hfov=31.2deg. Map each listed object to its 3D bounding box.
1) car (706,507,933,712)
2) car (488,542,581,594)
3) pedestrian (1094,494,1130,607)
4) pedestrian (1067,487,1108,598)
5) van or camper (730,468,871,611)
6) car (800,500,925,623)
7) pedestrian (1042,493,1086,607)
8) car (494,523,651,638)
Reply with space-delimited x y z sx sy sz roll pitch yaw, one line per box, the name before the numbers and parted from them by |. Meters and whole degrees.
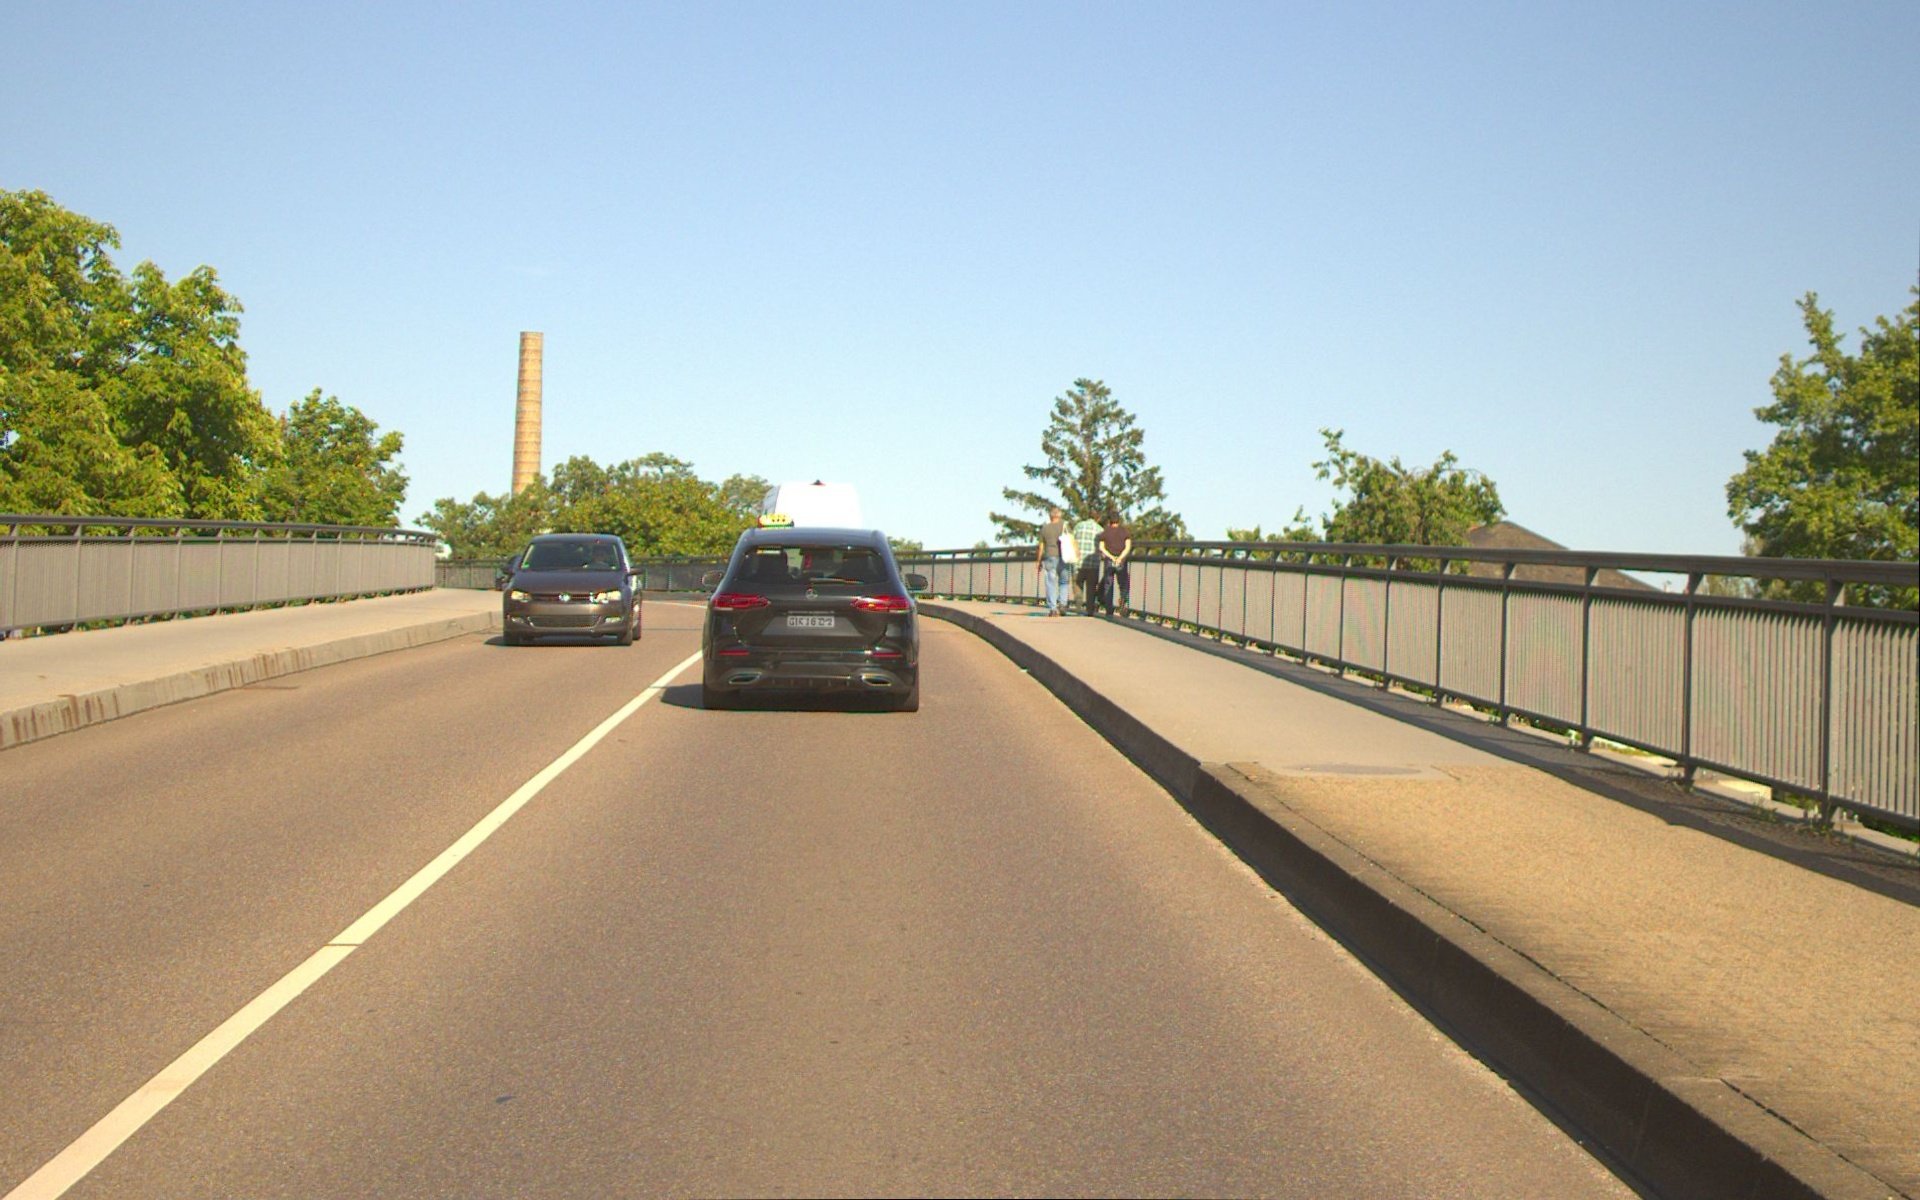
car | -1.274 0.049 29.595 1.769 1.587 3.990 2 1 -4
car | -14.186 -1.053 114.815 1.919 1.484 4.268 0 -2 10
pedestrian | 2.400 -0.778 54.310 0.471 1.744 0.654 2 -1 -1
pedestrian | 2.046 -0.920 55.148 0.549 1.744 0.738 2 -1 -1
van or camper | -3.471 -1.213 73.187 2.225 2.730 7.081 2 -1 -8
car | -1.484 -0.561 53.523 1.804 1.634 3.999 2 -3 0
pedestrian | 1.637 -0.782 54.206 0.602 1.744 0.717 2 -1 -1
car | -5.110 -0.282 45.731 1.769 1.469 3.989 0 1 -2
